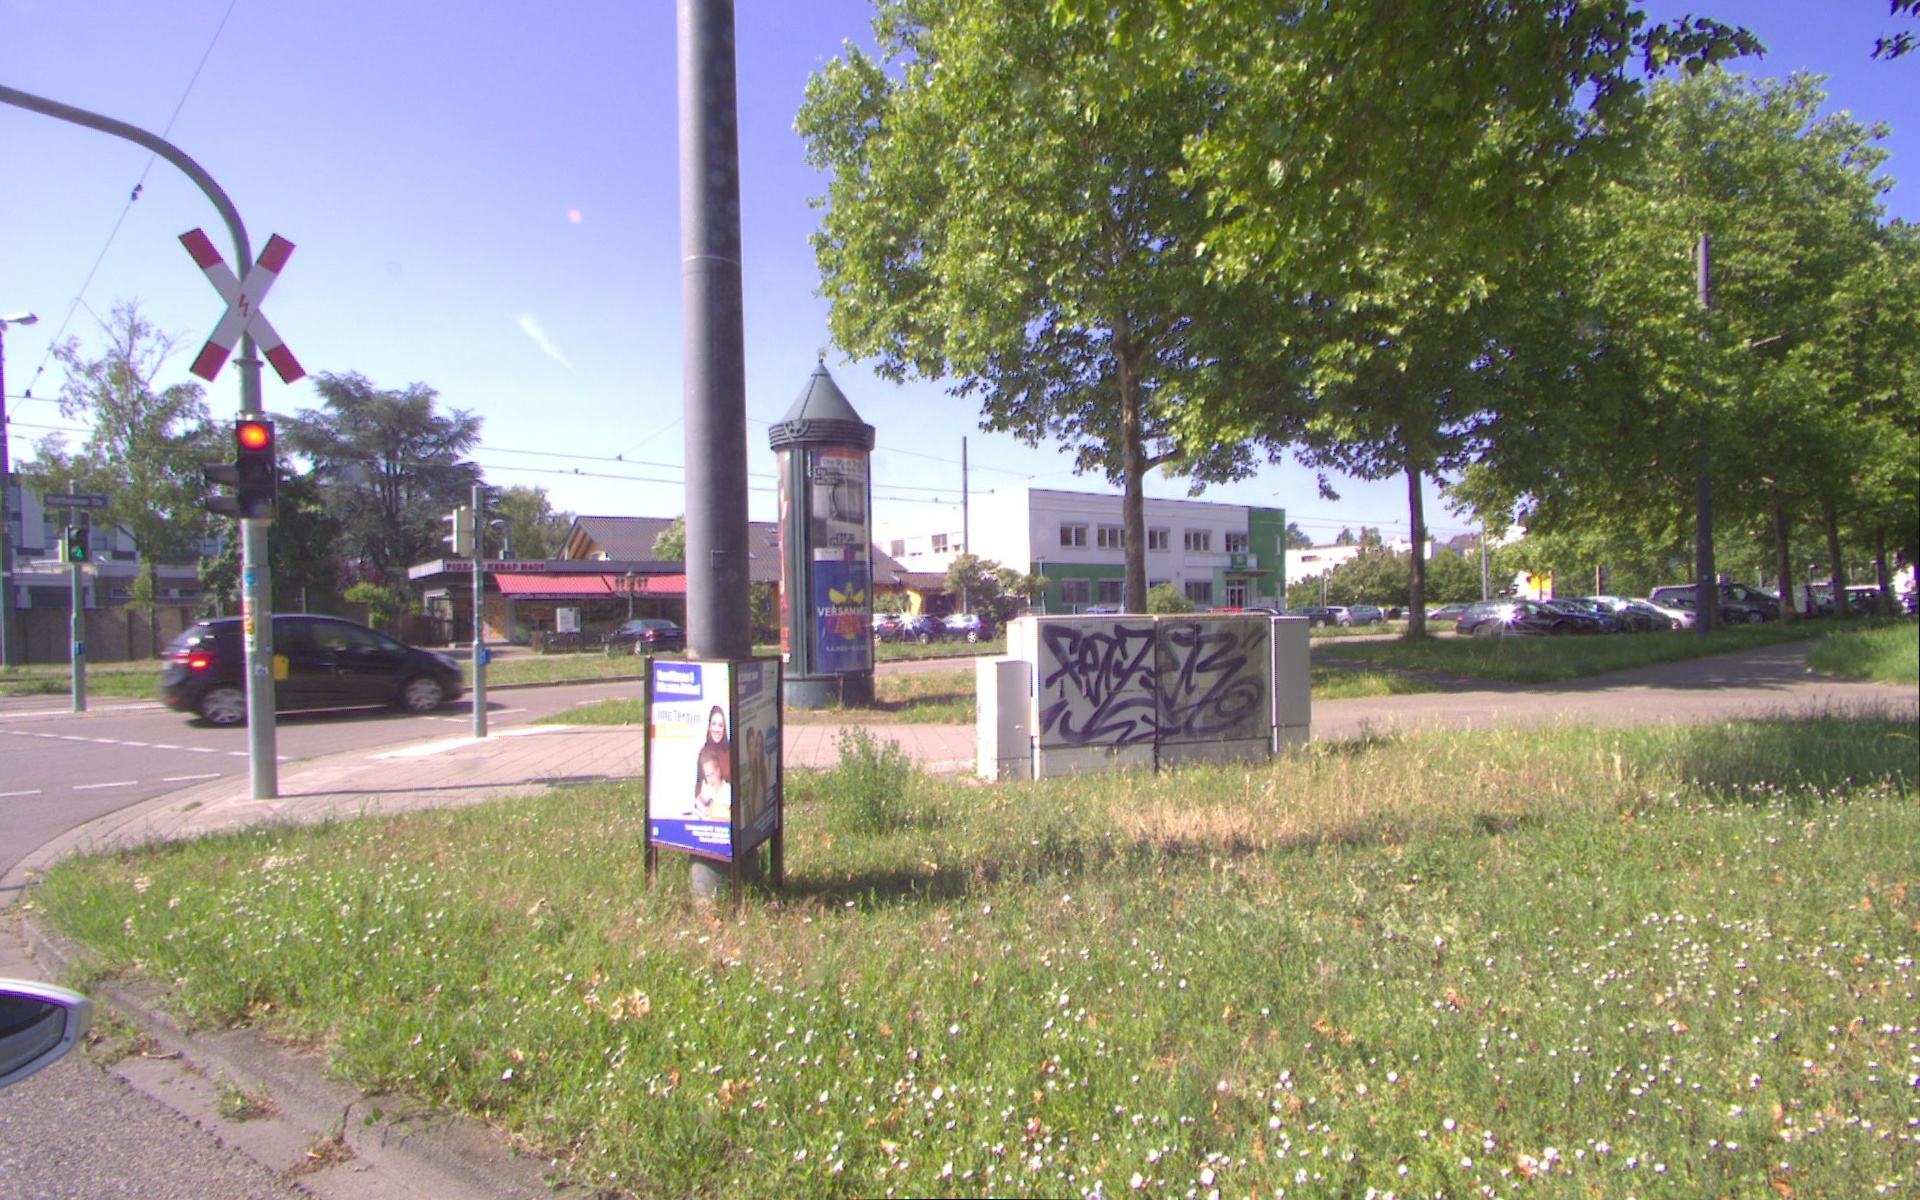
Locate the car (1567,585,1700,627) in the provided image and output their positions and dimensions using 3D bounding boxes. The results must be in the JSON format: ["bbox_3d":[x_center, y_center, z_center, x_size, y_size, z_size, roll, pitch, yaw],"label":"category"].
[{"bbox_3d":[27.874,0.270,41.501,4.309,1.654,1.982,-1,0,44],"label":"car"}]

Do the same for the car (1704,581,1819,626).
[{"bbox_3d":[41.668,0.203,52.116,4.542,2.238,1.982,-1,0,44],"label":"car"}]

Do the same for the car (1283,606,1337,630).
[{"bbox_3d":[23.711,1.234,67.938,3.383,1.556,1.565,-1,0,18],"label":"car"}]

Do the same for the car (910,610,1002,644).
[{"bbox_3d":[-0.193,1.351,50.591,4.139,1.640,2.136,-1,-1,26],"label":"car"}]

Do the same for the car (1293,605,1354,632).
[{"bbox_3d":[25.642,1.349,70.608,3.934,1.816,1.995,-1,-2,24],"label":"car"}]

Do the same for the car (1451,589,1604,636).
[{"bbox_3d":[19.775,0.456,34.992,4.310,1.510,1.982,-2,-1,44],"label":"car"}]

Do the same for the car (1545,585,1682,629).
[{"bbox_3d":[25.995,0.319,39.905,4.309,1.654,1.982,-1,-2,44],"label":"car"}]

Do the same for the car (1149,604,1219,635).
[{"bbox_3d":[13.757,1.228,61.495,3.934,1.816,1.995,-1,-2,24],"label":"car"}]

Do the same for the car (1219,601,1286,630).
[{"bbox_3d":[18.874,1.022,64.582,3.934,1.816,1.995,-1,-2,24],"label":"car"}]

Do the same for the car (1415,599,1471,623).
[{"bbox_3d":[38.879,0.889,80.742,3.934,1.816,1.995,-1,-2,24],"label":"car"}]

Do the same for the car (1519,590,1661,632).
[{"bbox_3d":[24.037,0.445,38.273,4.309,1.510,1.982,-1,0,44],"label":"car"}]

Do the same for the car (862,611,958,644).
[{"bbox_3d":[-2.437,1.349,48.630,4.139,1.518,2.136,-2,-1,26],"label":"car"}]

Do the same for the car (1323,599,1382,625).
[{"bbox_3d":[28.241,0.900,72.037,3.934,1.816,1.995,-1,-2,24],"label":"car"}]

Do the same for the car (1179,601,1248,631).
[{"bbox_3d":[15.980,1.050,63.104,3.934,1.817,1.995,-1,-1,24],"label":"car"}]

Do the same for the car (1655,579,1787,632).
[{"bbox_3d":[35.121,0.273,46.309,1.978,2.320,4.550,-1,0,-41],"label":"car"}]

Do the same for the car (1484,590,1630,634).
[{"bbox_3d":[21.852,0.463,36.737,4.309,1.510,1.982,-1,0,44],"label":"car"}]

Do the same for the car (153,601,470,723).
[{"bbox_3d":[-10.118,0.901,15.797,3.961,1.676,1.777,1,-1,-44],"label":"car"}]

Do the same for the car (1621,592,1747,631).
[{"bbox_3d":[31.934,0.528,44.223,4.309,1.654,1.982,-1,0,44],"label":"car"}]

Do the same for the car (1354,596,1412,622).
[{"bbox_3d":[31.382,0.665,74.330,3.934,1.816,1.995,-1,-2,24],"label":"car"}]

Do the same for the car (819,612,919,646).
[{"bbox_3d":[-4.260,1.373,46.829,4.139,1.518,2.136,-2,-1,26],"label":"car"}]

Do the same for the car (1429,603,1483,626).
[{"bbox_3d":[40.976,1.185,82.842,3.934,1.816,1.995,-1,-2,24],"label":"car"}]

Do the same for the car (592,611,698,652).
[{"bbox_3d":[-12.834,1.308,40.603,2.121,1.518,5.073,-1,-2,-43],"label":"car"}]
